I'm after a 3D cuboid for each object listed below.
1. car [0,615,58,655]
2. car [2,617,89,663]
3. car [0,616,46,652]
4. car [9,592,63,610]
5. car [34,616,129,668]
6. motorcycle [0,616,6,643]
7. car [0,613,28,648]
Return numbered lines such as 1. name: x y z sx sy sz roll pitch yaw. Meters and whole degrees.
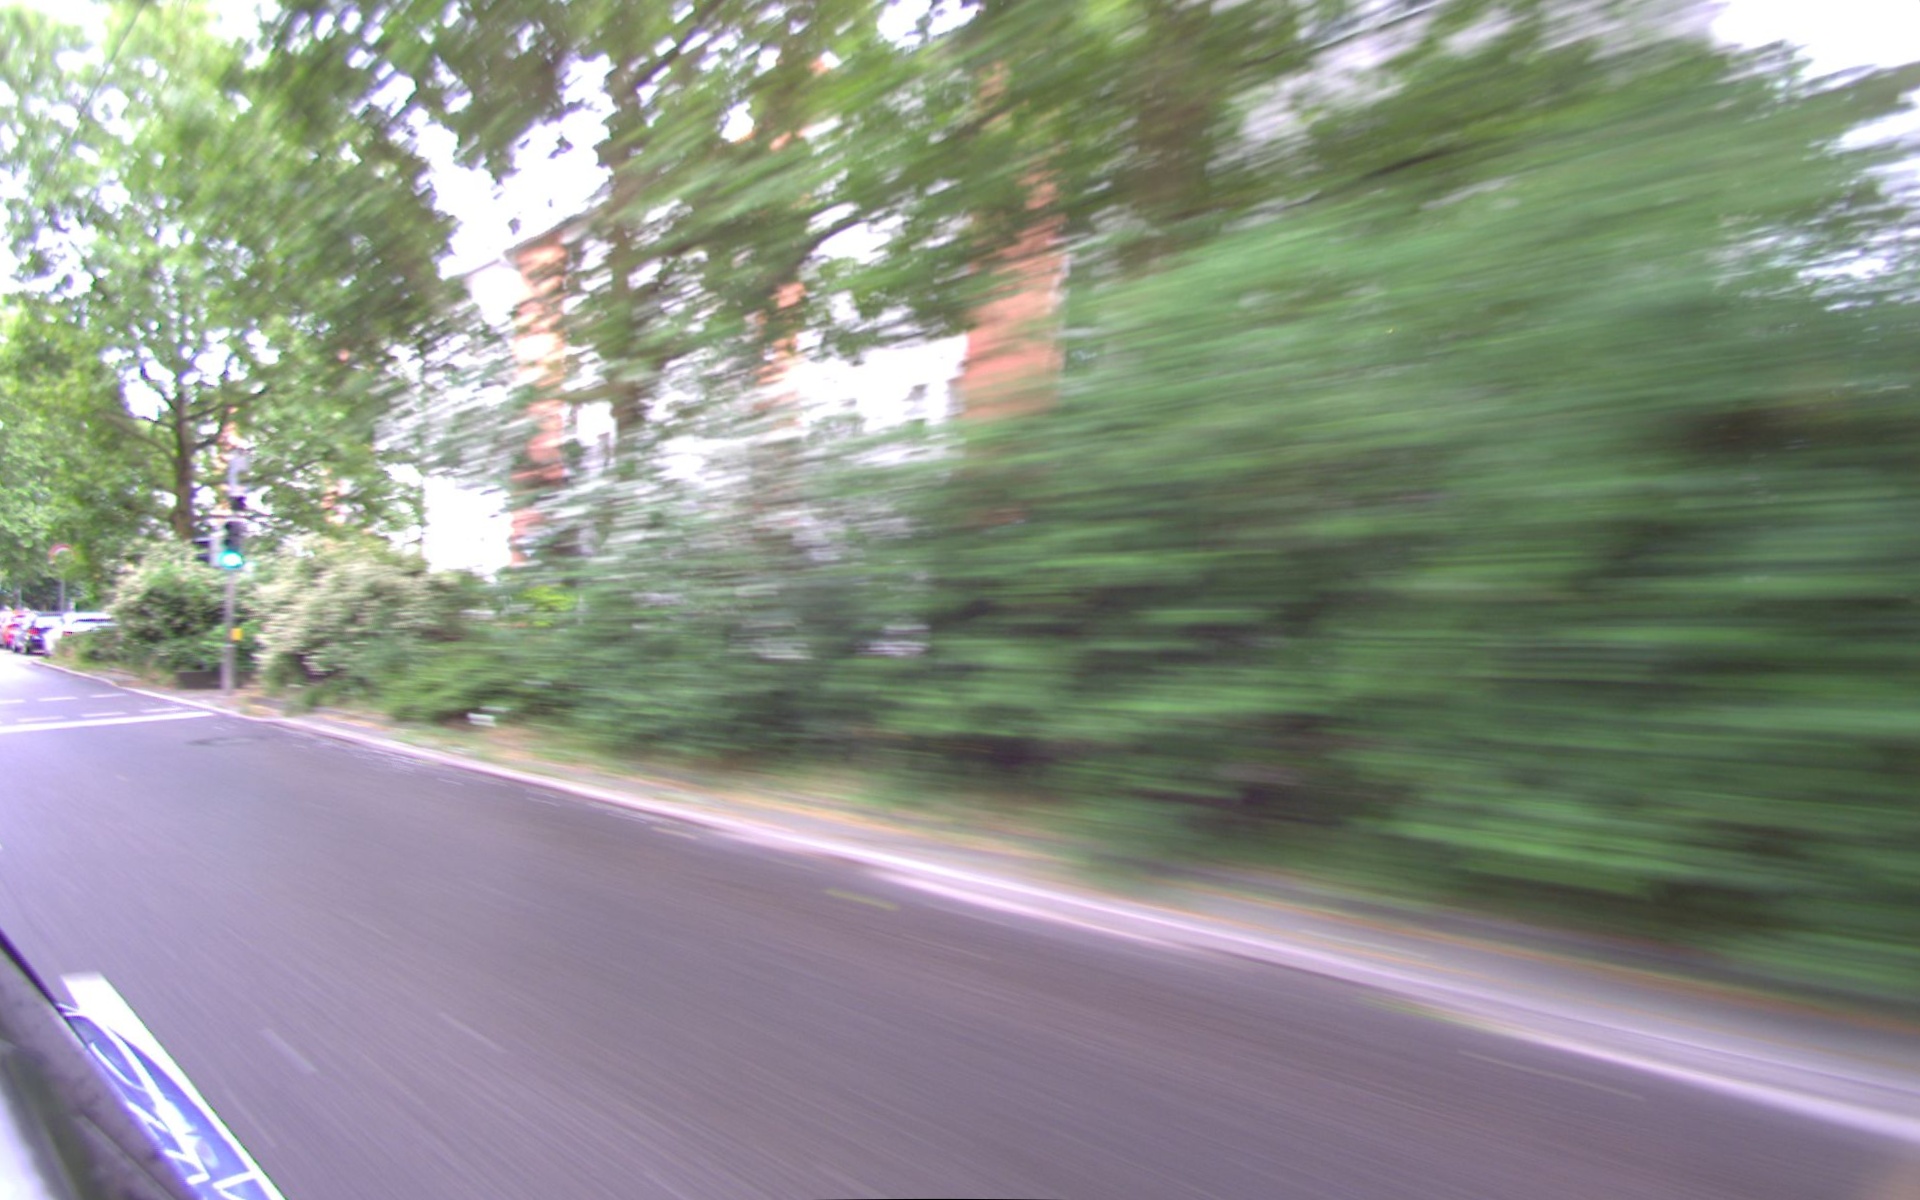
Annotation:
1. car: -37.267 1.361 40.145 3.752 1.478 1.699 0 -1 40
2. car: -32.162 1.366 35.547 4.230 1.478 1.699 0 -1 40
3. car: -41.000 1.432 43.883 3.394 1.478 1.540 0 -1 40
4. car: -91.001 0.054 99.693 1.736 1.701 3.755 1 1 38
5. car: -27.379 1.262 31.493 4.308 1.478 1.698 0 -1 42
6. motorcycle: -48.761 1.440 50.439 0.722 1.350 1.695 0 -2 41
7. car: -44.969 1.396 47.076 4.799 1.521 1.700 0 -1 39
